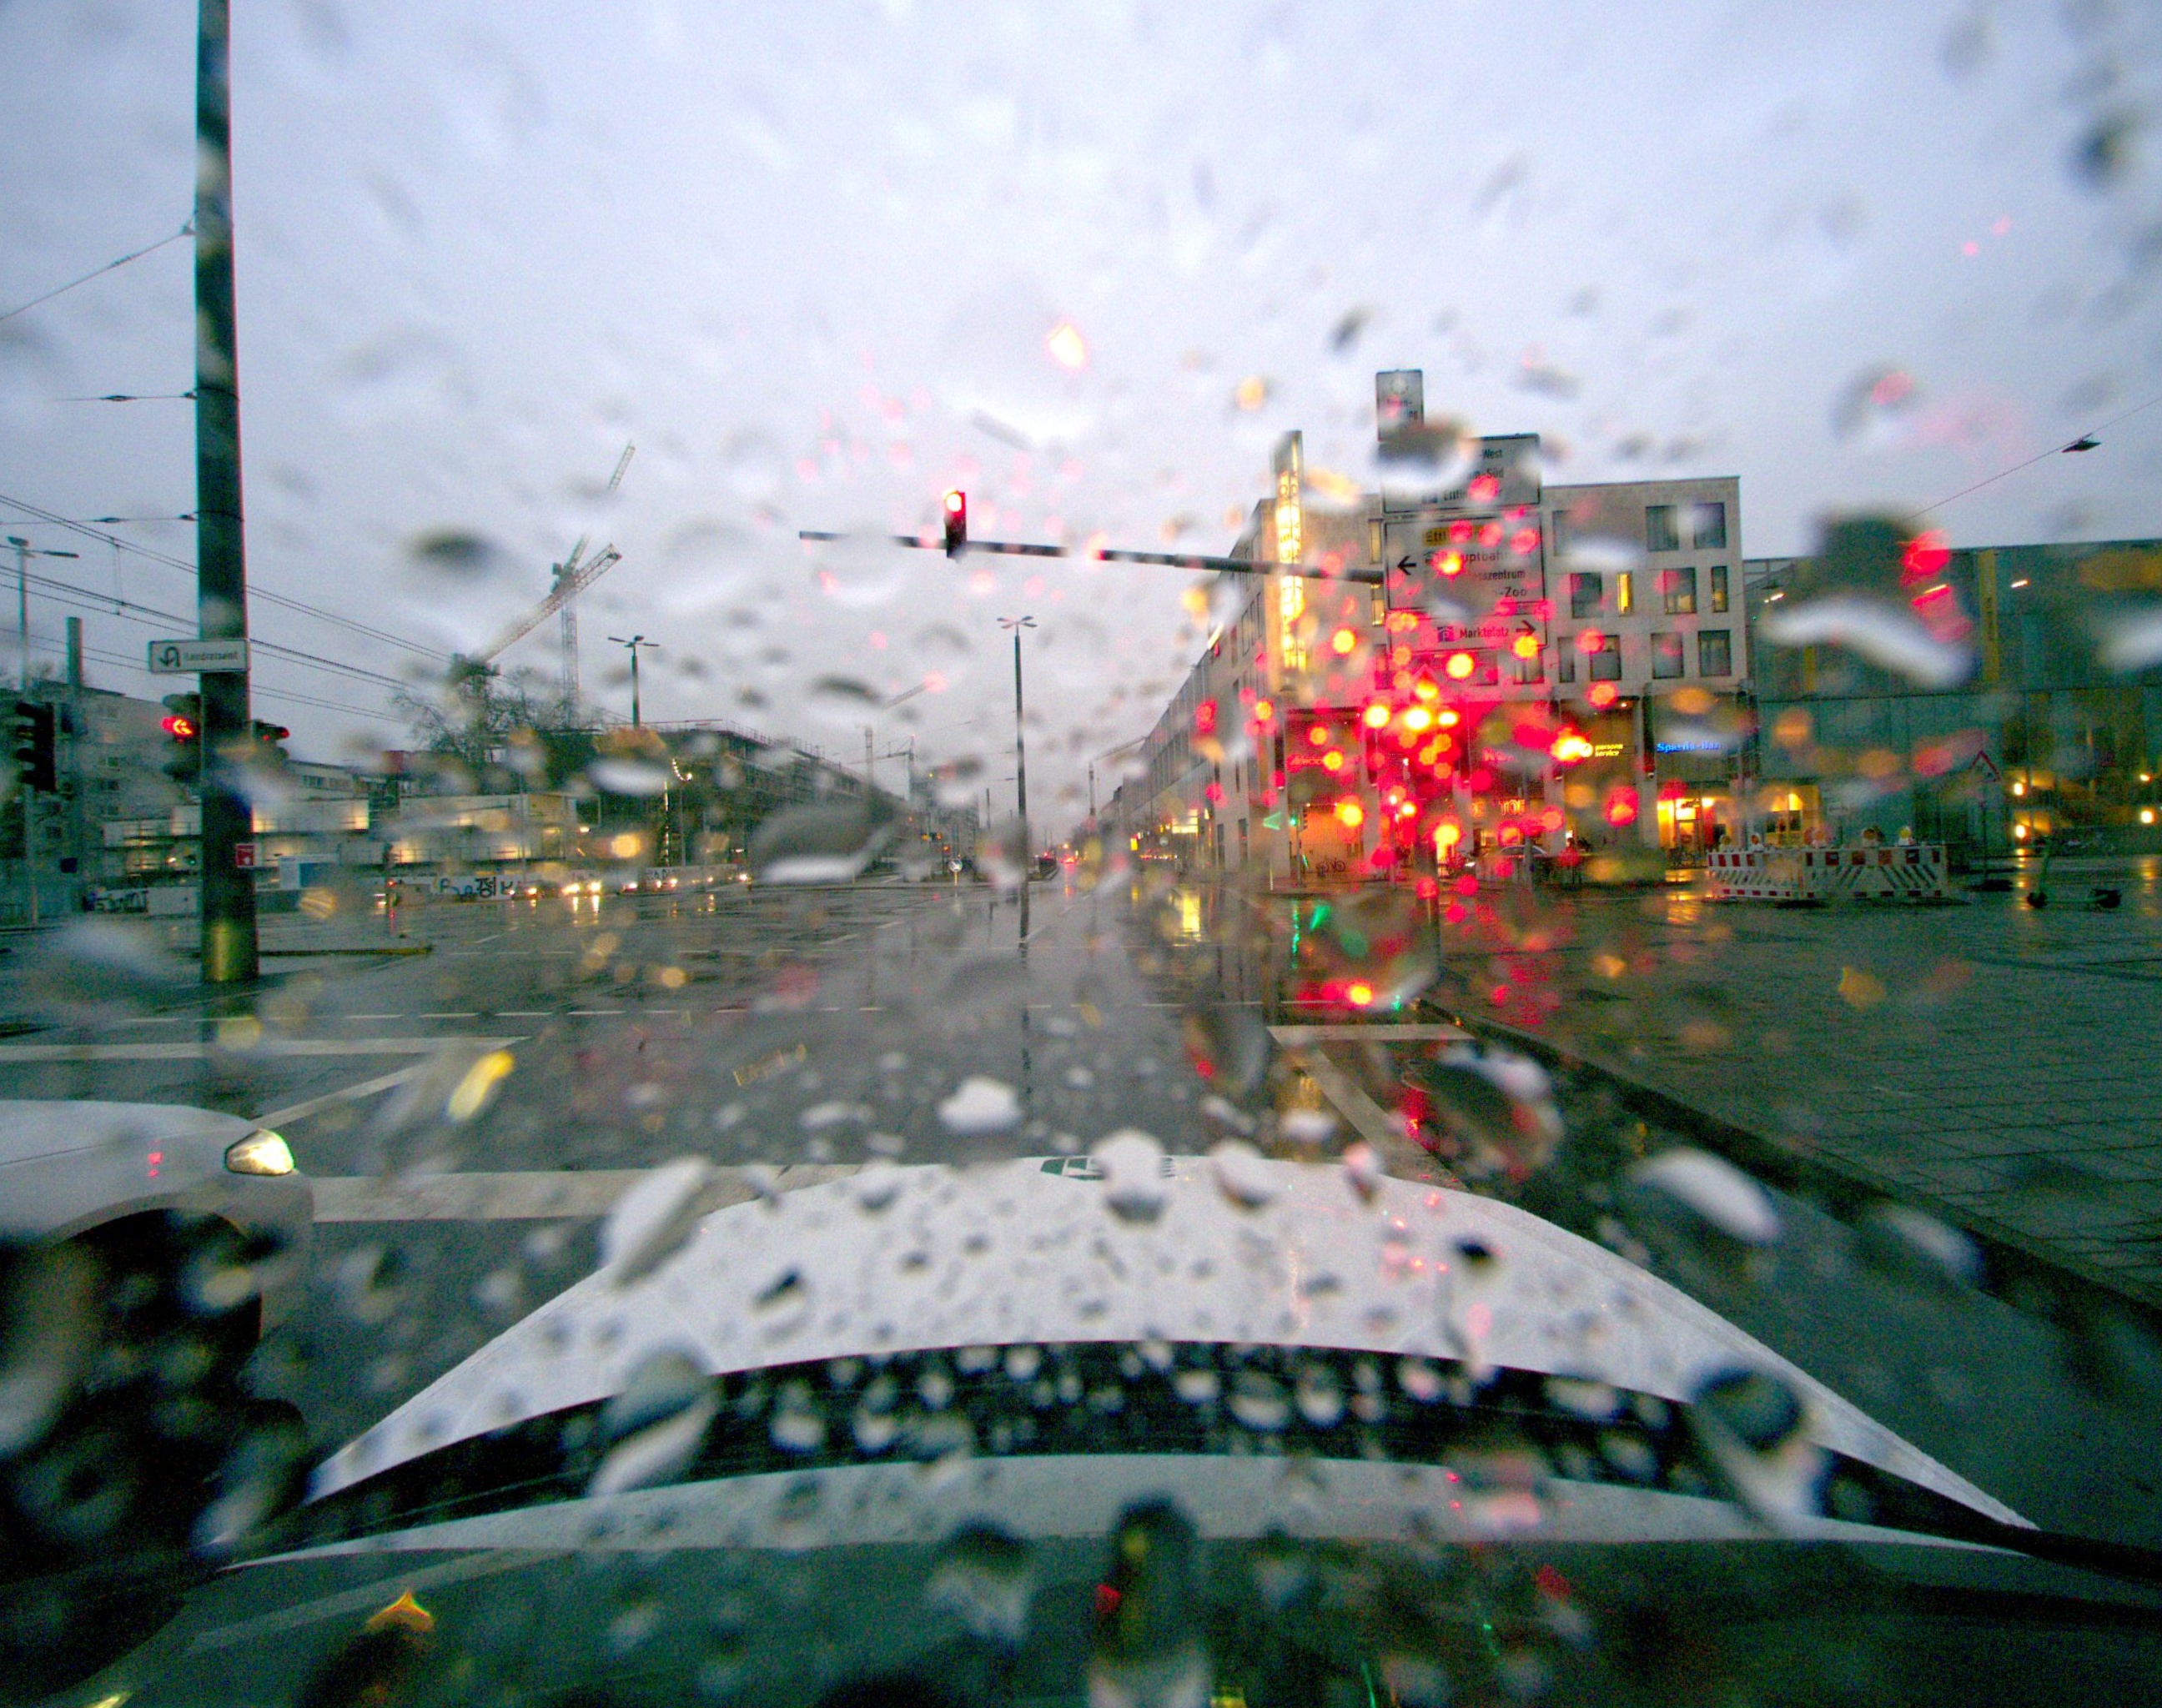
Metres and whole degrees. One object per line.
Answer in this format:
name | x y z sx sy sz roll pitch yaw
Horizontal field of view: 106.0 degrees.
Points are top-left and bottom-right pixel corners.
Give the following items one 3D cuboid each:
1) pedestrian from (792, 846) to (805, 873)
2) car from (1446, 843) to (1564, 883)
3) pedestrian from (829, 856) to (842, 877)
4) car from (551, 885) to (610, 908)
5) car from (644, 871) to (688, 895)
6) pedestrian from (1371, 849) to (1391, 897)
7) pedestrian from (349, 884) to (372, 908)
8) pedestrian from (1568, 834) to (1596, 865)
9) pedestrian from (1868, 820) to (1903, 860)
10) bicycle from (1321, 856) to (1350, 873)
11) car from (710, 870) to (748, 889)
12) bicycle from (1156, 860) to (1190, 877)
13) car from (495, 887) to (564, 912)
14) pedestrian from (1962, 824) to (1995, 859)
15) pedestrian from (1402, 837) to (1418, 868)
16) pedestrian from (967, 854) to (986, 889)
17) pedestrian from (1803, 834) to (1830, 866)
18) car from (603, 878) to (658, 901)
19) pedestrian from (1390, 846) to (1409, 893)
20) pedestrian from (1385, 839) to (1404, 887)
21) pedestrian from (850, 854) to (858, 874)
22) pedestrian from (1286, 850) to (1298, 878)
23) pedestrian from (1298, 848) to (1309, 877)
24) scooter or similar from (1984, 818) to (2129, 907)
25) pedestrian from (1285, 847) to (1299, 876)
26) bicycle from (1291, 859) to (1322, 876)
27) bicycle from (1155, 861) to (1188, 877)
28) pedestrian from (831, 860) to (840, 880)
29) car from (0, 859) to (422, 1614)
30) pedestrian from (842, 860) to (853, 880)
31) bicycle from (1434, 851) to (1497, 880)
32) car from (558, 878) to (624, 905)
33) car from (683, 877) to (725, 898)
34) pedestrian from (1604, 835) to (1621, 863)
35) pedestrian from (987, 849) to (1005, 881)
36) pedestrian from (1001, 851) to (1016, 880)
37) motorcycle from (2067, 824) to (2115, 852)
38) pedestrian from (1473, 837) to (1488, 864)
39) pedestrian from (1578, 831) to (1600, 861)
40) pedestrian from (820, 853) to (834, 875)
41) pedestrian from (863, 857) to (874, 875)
pedestrian | -24.126 0.453 69.556 0.762 2.323 0.763 0 -2 1
car | 17.936 0.366 34.595 3.970 1.618 2.001 0 -1 3
pedestrian | -23.885 1.246 79.185 0.939 2.014 1.094 0 -1 0
car | -38.964 3.294 63.500 1.986 1.530 4.001 -2 0 2
car | -34.802 2.398 68.421 1.862 1.828 3.993 0 -1 -5
pedestrian | 15.426 0.991 41.865 0.712 2.441 0.758 0 -1 1
pedestrian | -42.908 2.484 48.484 0.724 1.388 0.726 -1 -1 8
pedestrian | 27.771 -0.263 45.128 1.026 1.684 0.824 0 -1 1
pedestrian | 34.878 -0.588 35.305 0.737 1.684 0.783 0 -1 8
bicycle | 15.835 0.652 50.604 1.642 1.070 0.524 0 -1 -2
car | -34.926 2.478 80.910 1.987 1.790 3.999 0 -1 0
bicycle | 6.927 1.080 61.569 2.434 1.154 0.674 -2 -1 0
car | -38.434 3.147 56.864 1.986 1.530 4.001 -2 0 2
pedestrian | 43.807 -0.623 39.749 0.737 1.684 0.783 0 -1 8
pedestrian | 21.752 -0.126 53.856 0.841 2.013 0.700 -2 0 10
pedestrian | -6.112 1.025 47.673 0.776 2.014 0.732 -1 -1 44
pedestrian | 39.030 -0.221 43.220 0.737 1.684 0.783 0 -1 8
car | -34.274 2.639 62.084 2.074 1.530 4.603 -2 0 -7
pedestrian | 16.653 0.809 42.591 0.691 2.448 0.792 0 -1 1
pedestrian | 16.164 0.475 42.051 0.687 2.441 0.758 0 -1 1
pedestrian | -22.732 1.012 81.563 0.569 1.968 0.664 1 -1 -4
pedestrian | 12.678 0.613 48.908 0.480 1.663 0.460 -3 -1 32
pedestrian | 13.652 0.505 49.935 0.596 1.745 0.526 -1 -1 10
scooter or similar | 15.685 0.119 13.151 0.590 1.352 1.495 0 0 2
pedestrian | 12.737 0.475 49.122 0.634 1.709 0.574 -2 -1 1
bicycle | 13.960 0.844 50.484 1.764 1.070 0.524 0 -1 -6
bicycle | 6.930 1.160 62.314 2.417 1.099 0.712 -2 -1 0
pedestrian | -23.454 1.495 77.697 0.696 1.881 0.553 0 -1 1
car | -3.189 0.788 0.337 2.010 1.487 4.561 -2 0 1
pedestrian | -22.857 1.550 79.701 0.762 1.898 0.763 0 -2 1
bicycle | 19.254 0.577 40.789 2.705 1.359 0.957 -2 -1 -2
car | -33.745 2.576 56.213 1.986 1.657 4.001 -2 0 2
car | -34.855 3.099 75.347 1.987 1.790 3.999 0 -1 0
pedestrian | 29.611 -0.276 45.412 0.583 1.494 0.520 -1 -1 4
pedestrian | -4.883 0.625 46.805 0.826 1.831 0.778 0 -1 -29
pedestrian | -4.298 0.684 48.235 0.605 1.686 0.581 -1 -1 44
motorcycle | 48.302 -0.759 38.948 1.482 1.352 0.595 0 0 5
pedestrian | 25.802 -0.239 52.593 0.728 1.718 0.743 -3 -1 29
pedestrian | 29.373 -0.436 47.098 0.890 1.684 0.528 -2 -1 1
pedestrian | -23.873 0.925 76.602 0.939 2.014 1.093 0 -1 -2
pedestrian | -24.032 1.351 92.132 0.941 2.014 1.092 0 -1 -6
